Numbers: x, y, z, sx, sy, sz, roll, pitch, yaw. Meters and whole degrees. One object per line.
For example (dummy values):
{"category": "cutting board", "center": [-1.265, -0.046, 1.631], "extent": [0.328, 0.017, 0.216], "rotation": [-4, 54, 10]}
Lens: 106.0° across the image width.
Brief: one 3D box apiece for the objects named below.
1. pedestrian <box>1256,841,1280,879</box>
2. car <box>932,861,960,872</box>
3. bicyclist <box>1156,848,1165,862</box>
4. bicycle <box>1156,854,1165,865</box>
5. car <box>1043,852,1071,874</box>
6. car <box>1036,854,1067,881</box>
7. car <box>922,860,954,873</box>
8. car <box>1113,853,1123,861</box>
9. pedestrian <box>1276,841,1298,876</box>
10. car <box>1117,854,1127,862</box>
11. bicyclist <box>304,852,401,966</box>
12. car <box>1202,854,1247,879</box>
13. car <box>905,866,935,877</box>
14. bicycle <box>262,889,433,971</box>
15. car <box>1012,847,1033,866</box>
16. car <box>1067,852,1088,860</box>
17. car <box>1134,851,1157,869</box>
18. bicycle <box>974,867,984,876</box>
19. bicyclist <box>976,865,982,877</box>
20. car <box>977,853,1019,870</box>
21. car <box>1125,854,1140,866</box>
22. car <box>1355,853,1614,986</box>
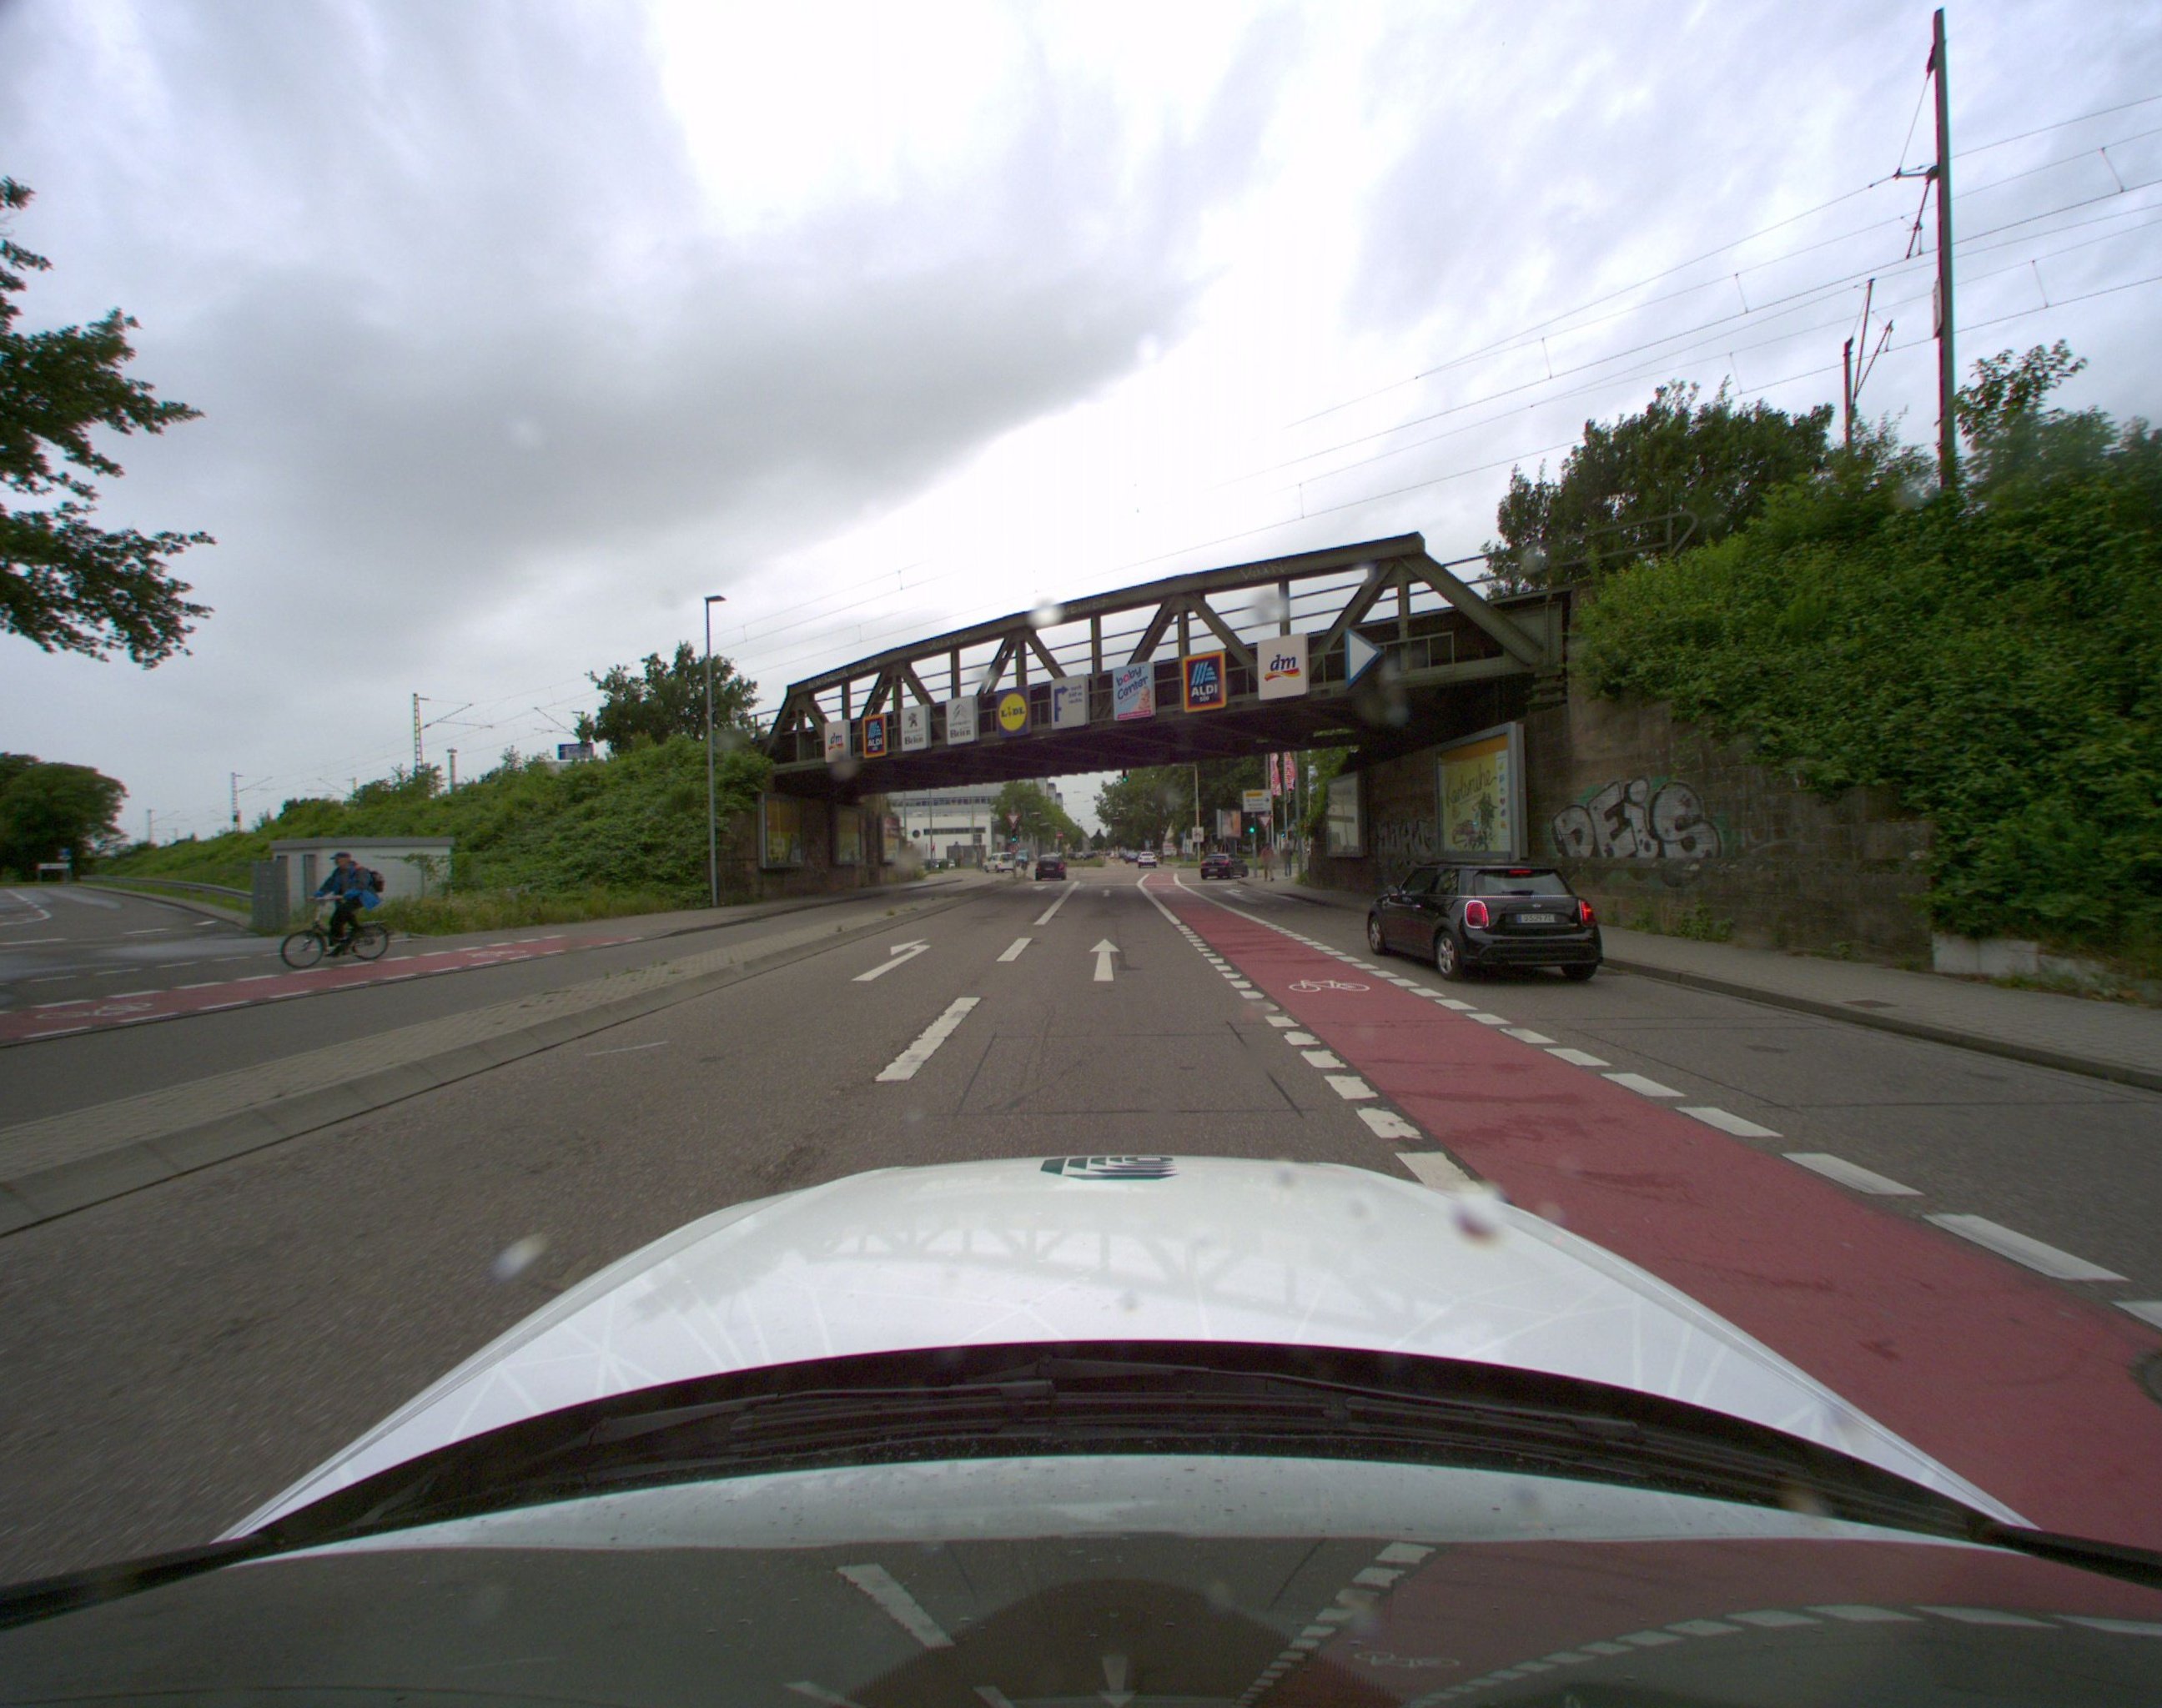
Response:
{"category": "pedestrian", "center": [8.792, 0.289, 38.268], "extent": [0.871, 1.759, 0.785], "rotation": [-2, 0, -7]}
{"category": "car", "center": [-23.318, 2.142, 141.134], "extent": [4.514, 1.634, 1.912], "rotation": [-2, 0, -2]}
{"category": "bicyclist", "center": [8.898, 0.110, 91.283], "extent": [0.813, 1.630, 1.235], "rotation": [-2, 0, 1]}
{"category": "bicycle", "center": [8.920, 0.619, 91.283], "extent": [0.813, 1.212, 2.684], "rotation": [-2, 0, 1]}
{"category": "car", "center": [-1.904, 0.668, 64.100], "extent": [1.772, 1.652, 3.658], "rotation": [-1, 0, -9]}
{"category": "car", "center": [-1.765, 0.779, 49.559], "extent": [1.764, 1.527, 3.667], "rotation": [-1, 0, -2]}
{"category": "car", "center": [-18.879, 1.672, 107.529], "extent": [3.627, 1.528, 1.783], "rotation": [-2, 0, 20]}
{"category": "car", "center": [7.848, 0.633, 171.847], "extent": [1.790, 1.513, 3.703], "rotation": [-1, 0, -2]}
{"category": "pedestrian", "center": [9.813, 0.231, 38.786], "extent": [0.734, 1.640, 0.783], "rotation": [-2, 0, 42]}
{"category": "car", "center": [9.325, 0.915, 185.662], "extent": [1.871, 1.632, 3.999], "rotation": [-2, 0, 0]}
{"category": "bicyclist", "center": [-12.409, 0.909, 13.898], "extent": [0.699, 1.874, 1.020], "rotation": [0, -1, 2]}
{"category": "car", "center": [8.050, 0.664, 45.489], "extent": [1.632, 1.281, 3.440], "rotation": [0, 0, 26]}
{"category": "car", "center": [-25.288, 2.700, 128.209], "extent": [4.194, 1.532, 1.914], "rotation": [-2, 0, 2]}
{"category": "bicycle", "center": [-12.417, 1.235, 13.922], "extent": [0.710, 1.187, 2.371], "rotation": [0, 0, 2]}
{"category": "car", "center": [-9.276, 0.423, 129.119], "extent": [2.318, 2.826, 5.957], "rotation": [-2, 0, 5]}
{"category": "car", "center": [-0.669, 0.322, 157.018], "extent": [3.870, 1.556, 1.825], "rotation": [0, 0, 0]}
{"category": "car", "center": [6.267, 0.548, 78.890], "extent": [1.818, 1.600, 3.773], "rotation": [-1, 0, -2]}
{"category": "bicycle", "center": [-13.430, 2.281, 107.327], "extent": [0.641, 1.062, 2.007], "rotation": [0, 1, 12]}
{"category": "bicyclist", "center": [-13.436, 2.195, 107.307], "extent": [0.641, 1.518, 0.628], "rotation": [0, 0, 12]}
{"category": "car", "center": [-7.788, 0.654, 76.321], "extent": [1.975, 1.527, 4.961], "rotation": [-1, 1, -31]}
{"category": "car", "center": [6.679, 0.784, 106.235], "extent": [1.679, 1.513, 3.703], "rotation": [-1, 0, -2]}
{"category": "car", "center": [5.101, 0.721, 10.892], "extent": [1.673, 1.431, 3.775], "rotation": [-1, 0, 1]}
